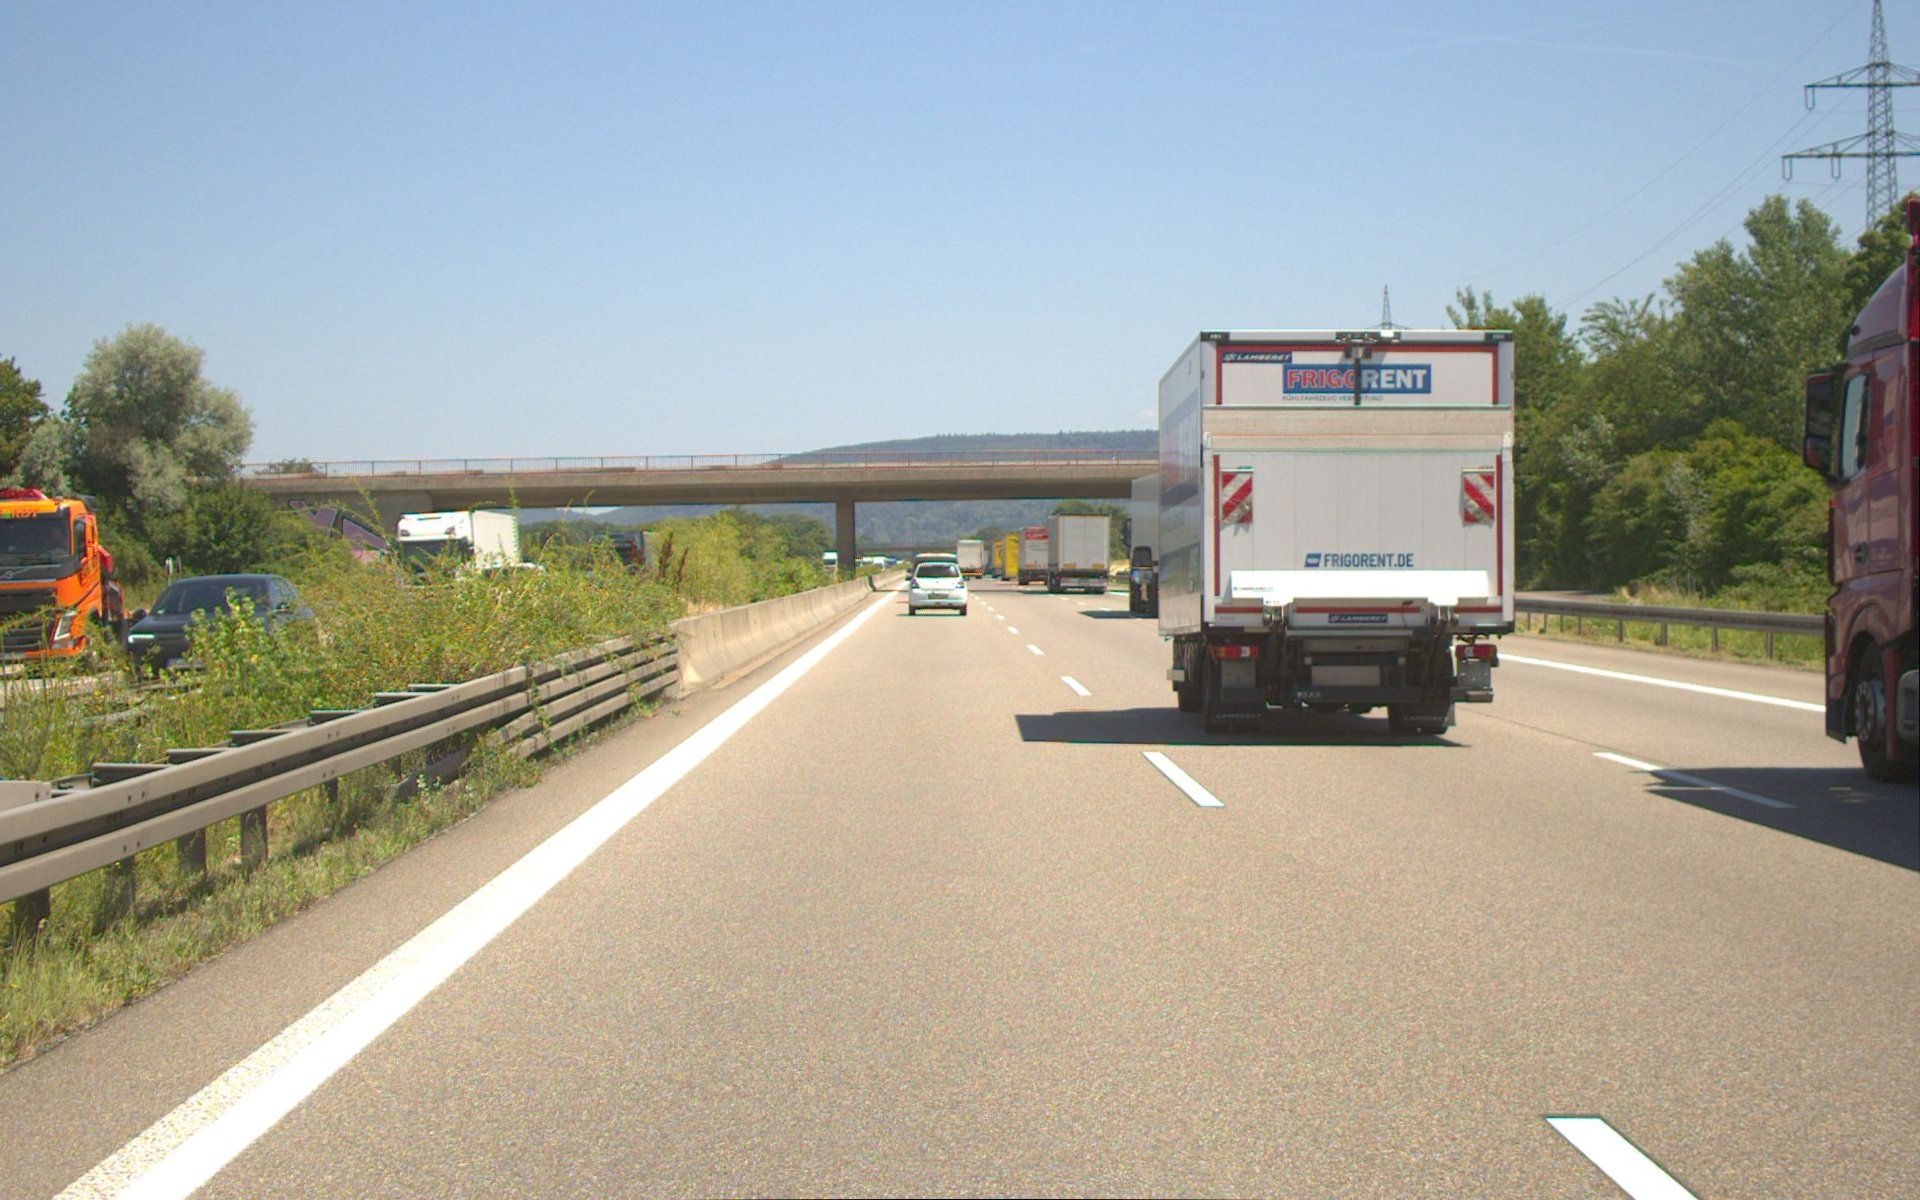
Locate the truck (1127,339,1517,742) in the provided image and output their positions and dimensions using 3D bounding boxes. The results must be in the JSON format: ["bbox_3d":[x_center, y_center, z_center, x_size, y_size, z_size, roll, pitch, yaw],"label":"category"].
[{"bbox_3d":[3.238,-0.536,32.936,2.782,3.361,8.128,0,1,-1],"label":"truck"}]

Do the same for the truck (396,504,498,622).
[{"bbox_3d":[-18.092,-1.323,121.551,2.680,4.001,5.756,-2,1,-1],"label":"truck"}]

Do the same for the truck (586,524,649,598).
[{"bbox_3d":[-18.912,-2.150,190.098,2.834,3.925,5.824,-2,1,0],"label":"truck"}]

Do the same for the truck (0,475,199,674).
[{"bbox_3d":[-17.894,-0.518,69.508,2.652,3.649,10.189,-3,1,0],"label":"truck"}]

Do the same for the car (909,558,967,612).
[{"bbox_3d":[-0.627,-0.452,99.664,1.607,1.462,4.000,-1,1,0],"label":"car"}]

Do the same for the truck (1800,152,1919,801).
[{"bbox_3d":[7.539,-0.790,22.235,2.795,4.149,5.723,0,1,0],"label":"truck"}]

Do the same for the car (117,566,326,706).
[{"bbox_3d":[-9.512,0.427,44.587,1.799,1.648,4.125,-2,1,-1],"label":"car"}]

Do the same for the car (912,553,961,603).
[{"bbox_3d":[-0.892,-0.871,132.081,1.761,1.844,4.000,-1,1,0],"label":"car"}]

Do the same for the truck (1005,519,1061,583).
[{"bbox_3d":[5.212,-3.497,248.023,3.520,4.401,14.592,-1,1,0],"label":"truck"}]

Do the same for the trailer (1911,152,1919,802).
[{"bbox_3d":[7.573,-0.700,15.336,2.789,4.149,13.575,0,1,0],"label":"trailer"}]

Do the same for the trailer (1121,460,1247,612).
[{"bbox_3d":[6.457,-1.846,101.062,2.795,4.149,13.956,0,1,0],"label":"trailer"}]

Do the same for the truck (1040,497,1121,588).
[{"bbox_3d":[6.141,-2.942,177.680,3.520,4.401,14.592,-1,1,0],"label":"truck"}]

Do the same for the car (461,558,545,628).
[{"bbox_3d":[-13.858,-0.234,104.455,1.882,1.980,4.739,-3,1,-1],"label":"car"}]
